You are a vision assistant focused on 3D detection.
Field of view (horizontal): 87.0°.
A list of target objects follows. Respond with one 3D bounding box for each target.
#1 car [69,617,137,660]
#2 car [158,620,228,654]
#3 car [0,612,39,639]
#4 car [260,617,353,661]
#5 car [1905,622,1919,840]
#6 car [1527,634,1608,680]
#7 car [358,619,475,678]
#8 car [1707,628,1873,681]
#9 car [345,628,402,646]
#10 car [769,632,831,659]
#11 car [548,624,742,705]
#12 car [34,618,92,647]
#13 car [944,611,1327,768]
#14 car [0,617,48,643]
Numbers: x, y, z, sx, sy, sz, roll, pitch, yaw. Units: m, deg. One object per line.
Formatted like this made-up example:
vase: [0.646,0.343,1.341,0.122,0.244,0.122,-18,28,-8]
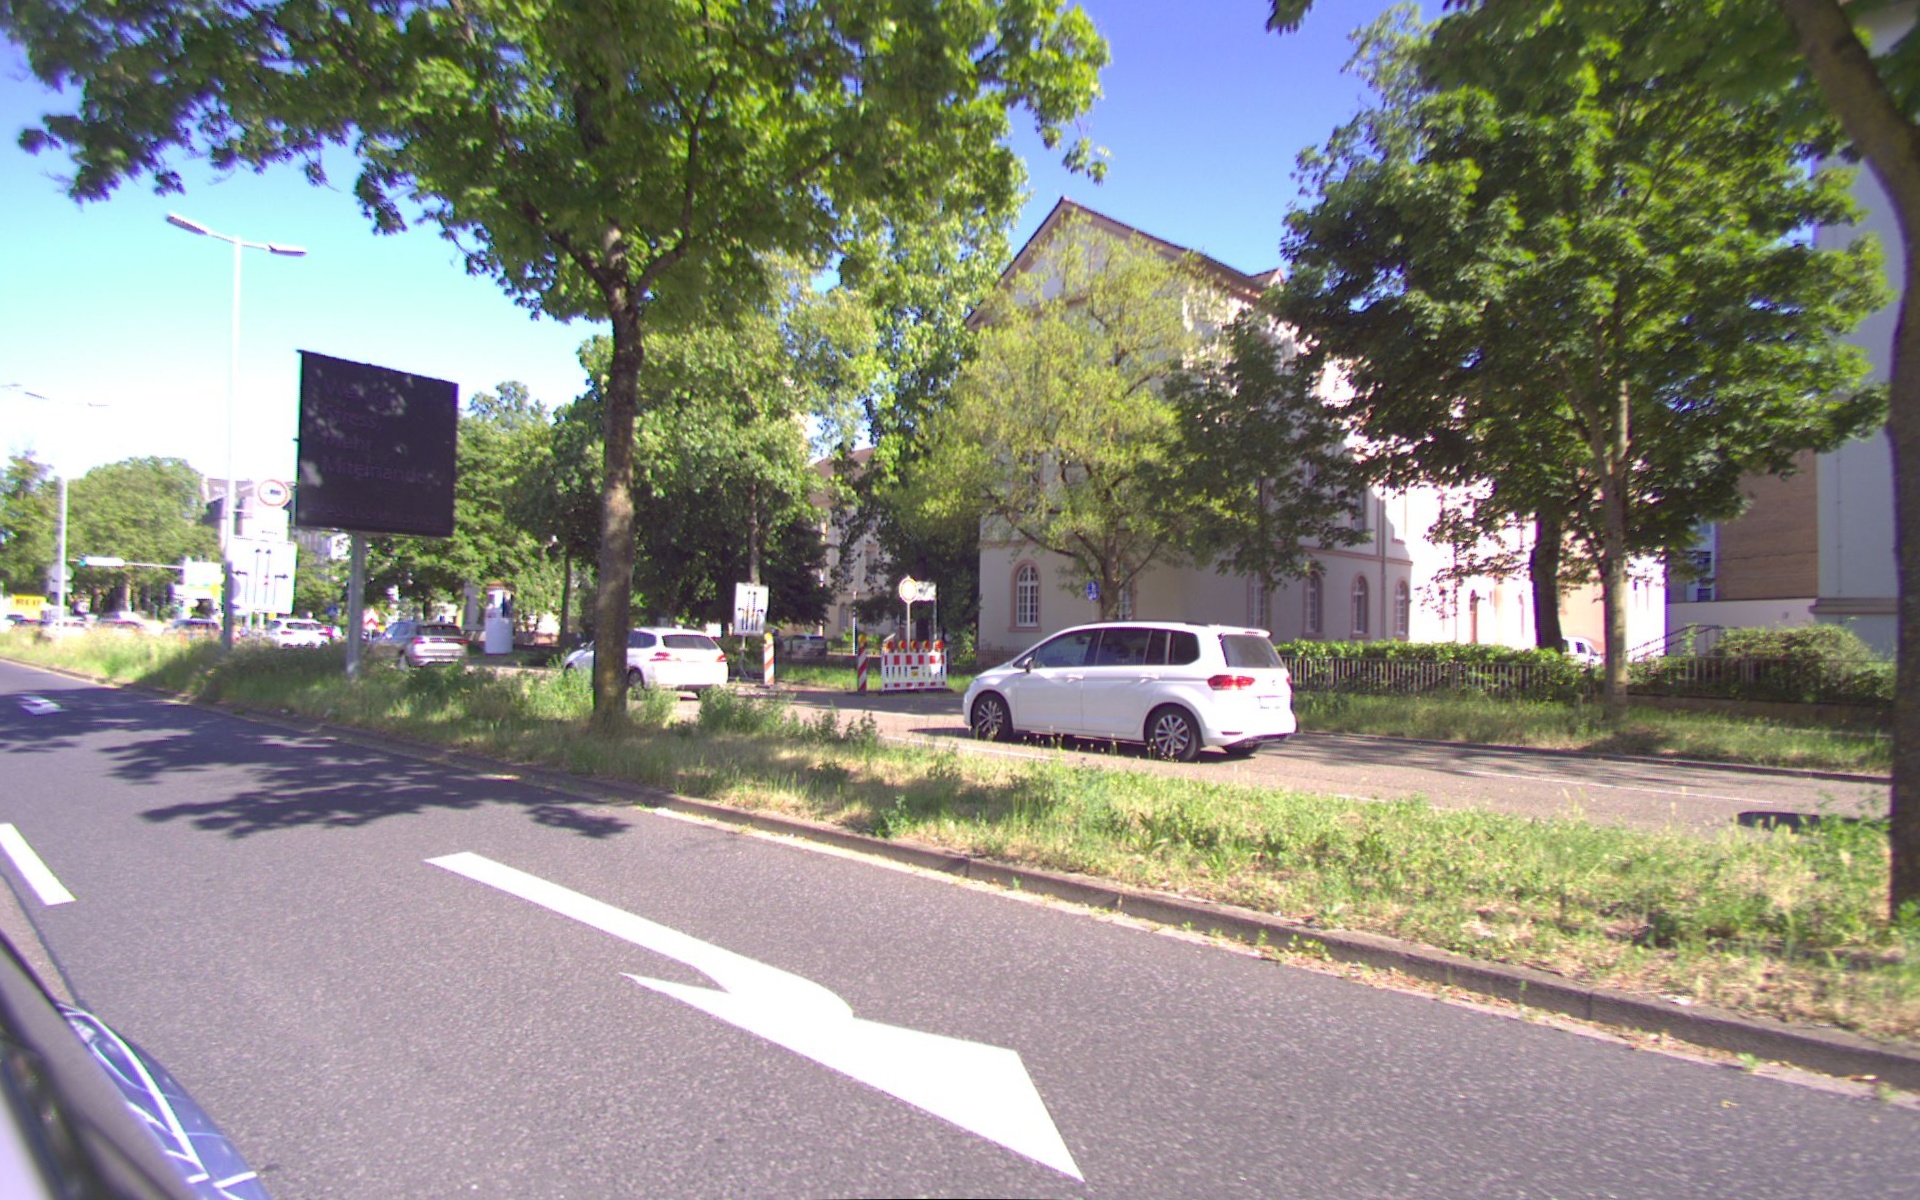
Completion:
car: [-38.437,1.701,45.376,4.323,1.630,1.734,3,1,42]
car: [-37.014,1.774,48.810,4.442,1.530,1.777,-1,-2,41]
car: [-75.249,2.011,80.565,5.015,2.043,2.210,-1,-2,41]
car: [-24.345,1.425,37.675,4.256,1.530,1.777,-1,-2,41]
car: [8.784,0.974,6.408,4.088,1.530,1.775,0,-3,44]
car: [27.184,2.506,45.269,3.938,1.807,2.003,1,1,-42]
car: [-16.356,1.387,30.371,4.257,1.530,1.776,1,0,42]
car: [32.914,2.195,40.240,1.969,1.972,4.797,3,-5,-43]
car: [-58.542,3.669,101.076,4.636,1.630,1.922,1,1,-40]
car: [-11.069,3.116,69.758,4.685,1.503,1.625,3,1,42]
car: [-6.716,1.274,21.272,4.666,1.530,1.818,-1,-3,43]
car: [-47.871,1.719,53.993,4.203,1.530,1.777,-1,-2,41]
car: [2.075,1.013,12.886,4.538,1.638,1.879,-1,-4,44]
car: [-58.373,1.826,63.046,4.345,1.530,1.777,0,-1,41]
